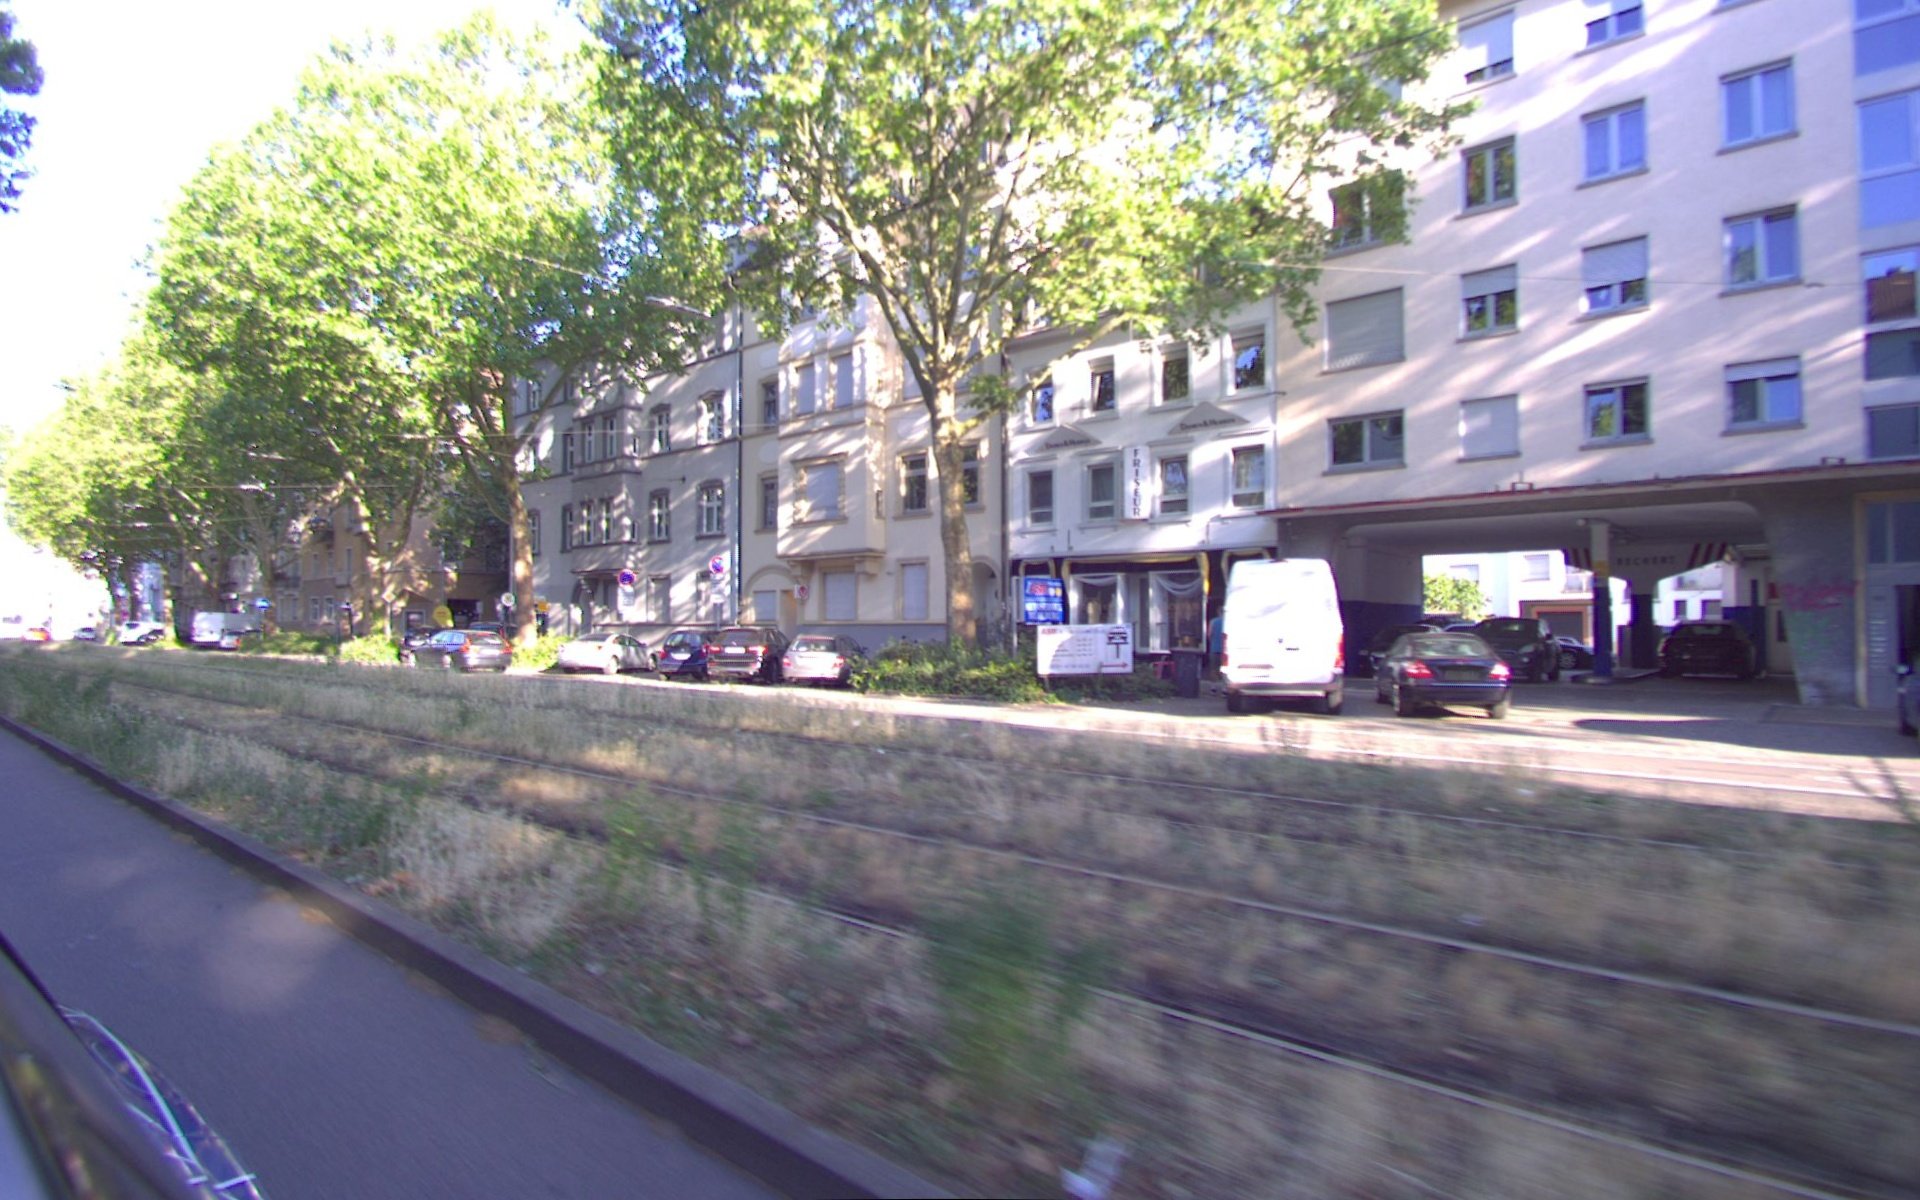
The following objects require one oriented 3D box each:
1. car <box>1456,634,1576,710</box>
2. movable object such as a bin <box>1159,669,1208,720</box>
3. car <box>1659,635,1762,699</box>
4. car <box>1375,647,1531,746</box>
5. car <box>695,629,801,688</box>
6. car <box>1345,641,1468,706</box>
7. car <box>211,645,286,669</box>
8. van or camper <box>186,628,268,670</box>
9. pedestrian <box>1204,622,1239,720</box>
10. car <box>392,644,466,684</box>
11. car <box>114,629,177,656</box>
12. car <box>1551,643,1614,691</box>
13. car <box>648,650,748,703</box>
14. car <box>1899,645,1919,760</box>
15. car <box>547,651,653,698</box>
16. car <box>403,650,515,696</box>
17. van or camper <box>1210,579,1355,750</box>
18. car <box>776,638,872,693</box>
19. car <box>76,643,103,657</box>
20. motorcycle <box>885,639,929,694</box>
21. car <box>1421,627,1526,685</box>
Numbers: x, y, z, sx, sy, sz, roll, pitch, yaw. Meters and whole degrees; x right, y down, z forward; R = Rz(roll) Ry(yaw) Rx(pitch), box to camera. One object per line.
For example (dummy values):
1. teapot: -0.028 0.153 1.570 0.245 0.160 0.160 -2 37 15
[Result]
1. car: 14.087 1.735 25.550 1.904 1.733 3.946 -1 -2 40
2. movable object such as a bin: 4.811 2.022 21.801 0.865 1.030 0.734 -1 -2 29
3. car: 20.225 1.726 27.212 1.998 1.567 3.946 -1 -2 40
4. car: 8.511 1.595 17.822 1.985 1.502 3.974 -1 -3 19
5. car: -6.060 1.716 29.418 1.912 1.605 4.154 0 -4 5
6. car: 11.933 1.890 26.930 1.998 1.553 3.947 -1 -3 40
7. car: -45.888 3.654 65.380 1.710 1.256 3.991 -1 1 7
8. van or camper: -48.138 3.171 66.600 2.171 2.418 4.362 -1 1 1
9. pedestrian: 5.579 1.495 21.554 0.647 2.029 0.614 -1 -3 22
10. car: -23.747 2.832 45.398 1.703 1.666 4.007 -1 -2 -9
11. car: -66.898 3.448 83.222 1.971 2.029 4.001 -1 0 -1
12. car: 21.578 2.293 35.048 1.693 1.567 3.269 -1 -3 34
13. car: -8.207 2.391 32.059 1.803 1.545 3.993 0 -3 6
14. car: 13.266 1.382 12.630 1.855 1.431 3.950 -1 0 37
15. car: -12.109 2.487 34.296 1.806 1.400 3.668 -1 -2 10
16. car: -17.087 2.451 34.444 4.481 1.400 1.801 -2 -4 41
17. van or camper: 6.165 1.104 18.983 2.163 2.666 5.926 -1 -2 21
18. car: -3.572 1.731 27.268 1.779 1.368 4.001 0 -3 4
19. car: -100.789 5.752 117.097 4.001 1.431 1.972 -1 0 44
20. motorcycle: -1.578 1.990 30.728 0.861 1.492 3.125 -1 -1 5
21. car: 15.882 1.703 31.245 1.999 1.660 3.945 -2 -3 41
